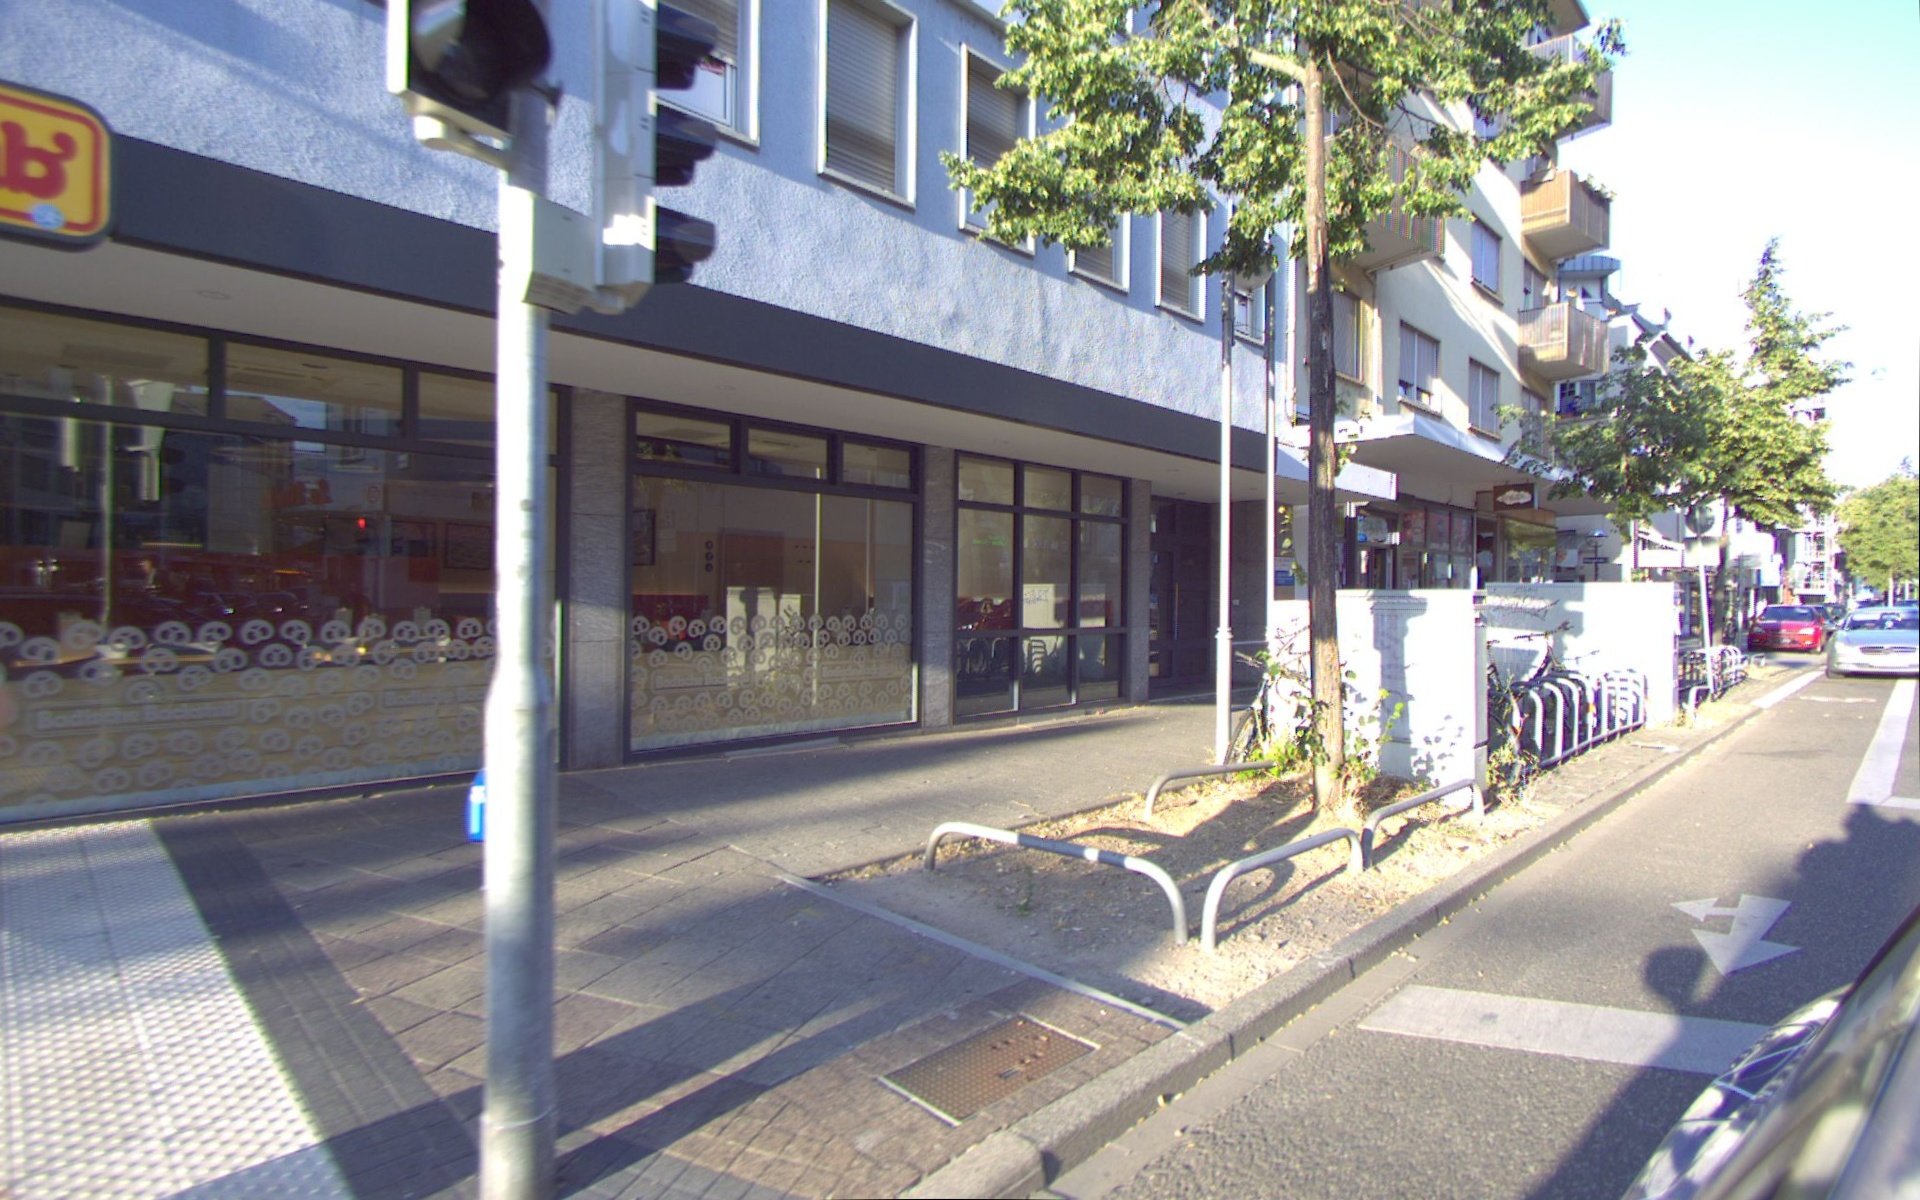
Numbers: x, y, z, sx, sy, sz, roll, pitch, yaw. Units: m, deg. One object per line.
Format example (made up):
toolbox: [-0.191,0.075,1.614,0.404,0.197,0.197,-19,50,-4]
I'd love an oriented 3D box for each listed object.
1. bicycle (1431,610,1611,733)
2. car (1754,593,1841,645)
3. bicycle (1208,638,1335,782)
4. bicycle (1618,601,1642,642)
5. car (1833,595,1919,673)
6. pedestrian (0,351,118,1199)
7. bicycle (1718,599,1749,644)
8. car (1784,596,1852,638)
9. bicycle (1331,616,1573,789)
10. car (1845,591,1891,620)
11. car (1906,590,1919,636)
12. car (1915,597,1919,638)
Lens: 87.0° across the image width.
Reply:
bicycle: [5.960,0.725,10.803,1.650,1.209,0.488,0,0,33]
car: [25.396,0.555,30.652,1.649,1.447,3.935,-2,-1,45]
bicycle: [2.630,0.861,8.442,0.402,1.023,1.646,2,1,39]
bicycle: [20.157,0.629,30.439,0.330,1.144,1.983,2,2,41]
car: [18.870,0.612,20.228,4.499,1.387,1.786,-1,-1,-45]
pedestrian: [-2.162,0.429,1.861,0.632,1.795,0.743,0,0,24]
bicycle: [22.807,0.615,29.842,0.503,1.253,1.685,2,2,44]
car: [30.310,0.576,35.705,1.609,1.412,3.637,-2,-1,43]
bicycle: [3.817,0.743,7.945,1.655,1.209,0.470,0,-1,41]
car: [52.131,0.266,58.073,1.762,1.592,3.809,1,1,45]
car: [35.850,0.450,36.909,1.891,1.663,3.689,0,0,44]
car: [39.269,0.655,40.320,1.686,1.562,3.674,-2,0,43]
